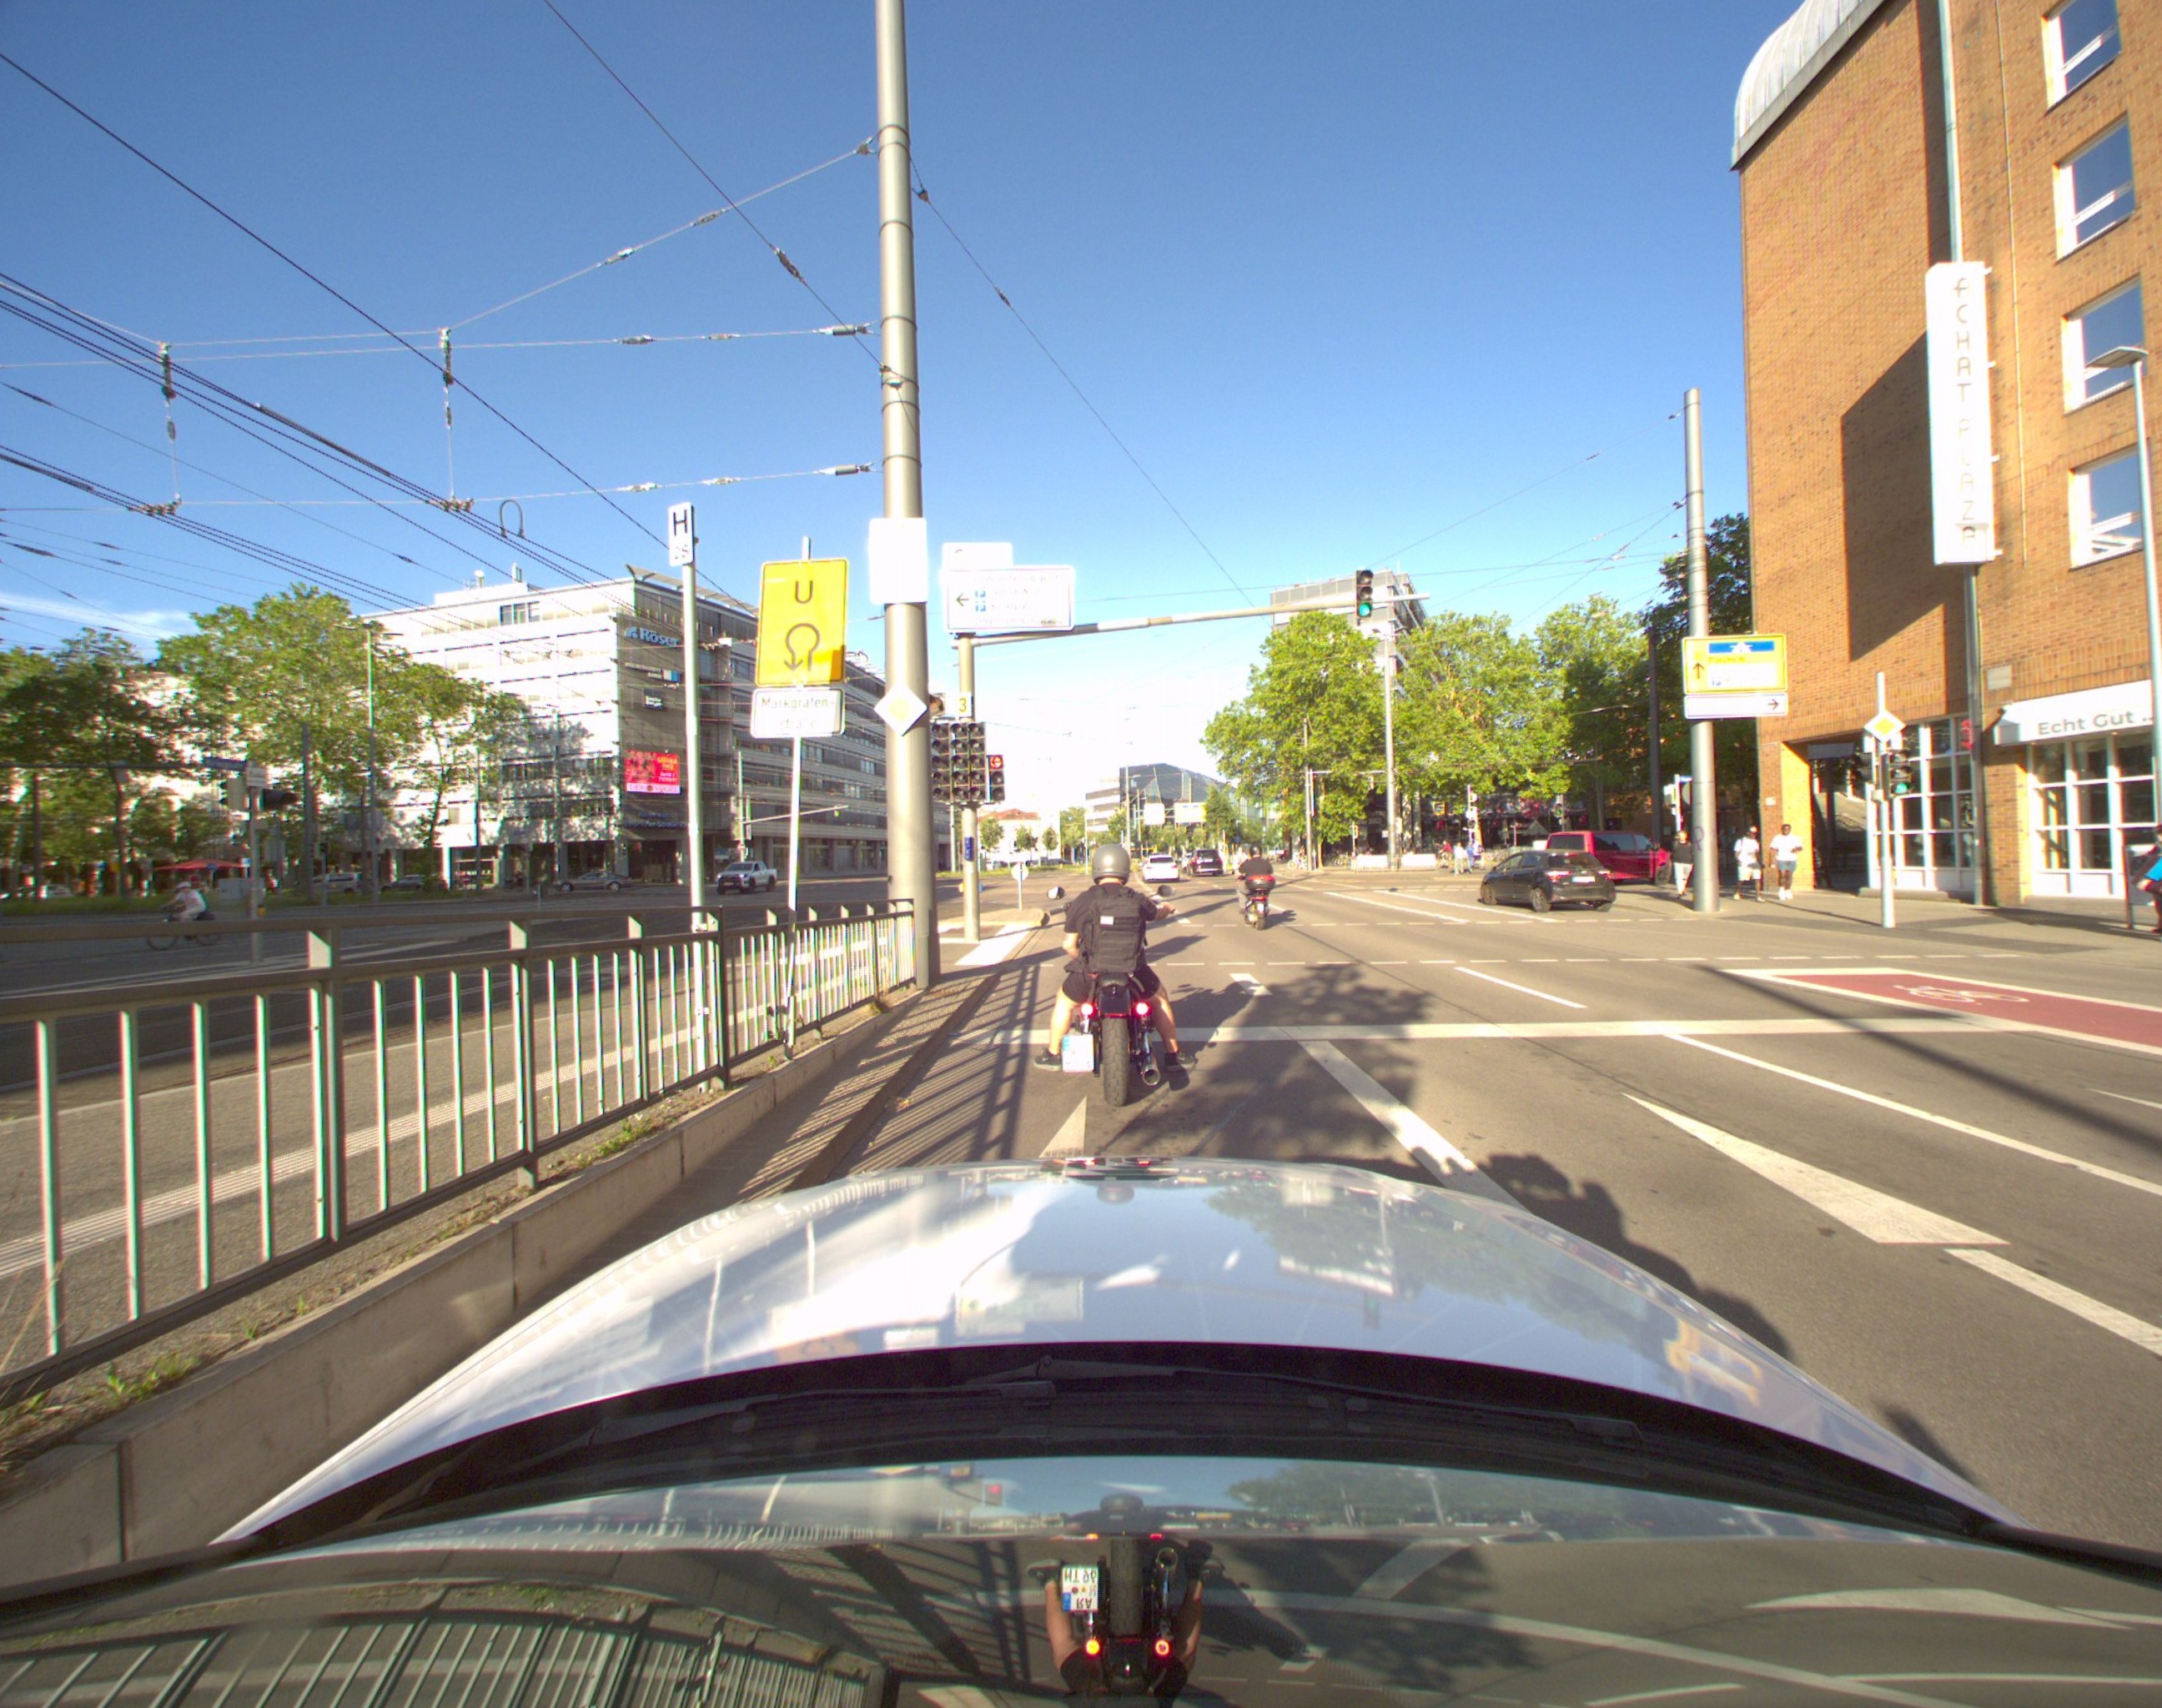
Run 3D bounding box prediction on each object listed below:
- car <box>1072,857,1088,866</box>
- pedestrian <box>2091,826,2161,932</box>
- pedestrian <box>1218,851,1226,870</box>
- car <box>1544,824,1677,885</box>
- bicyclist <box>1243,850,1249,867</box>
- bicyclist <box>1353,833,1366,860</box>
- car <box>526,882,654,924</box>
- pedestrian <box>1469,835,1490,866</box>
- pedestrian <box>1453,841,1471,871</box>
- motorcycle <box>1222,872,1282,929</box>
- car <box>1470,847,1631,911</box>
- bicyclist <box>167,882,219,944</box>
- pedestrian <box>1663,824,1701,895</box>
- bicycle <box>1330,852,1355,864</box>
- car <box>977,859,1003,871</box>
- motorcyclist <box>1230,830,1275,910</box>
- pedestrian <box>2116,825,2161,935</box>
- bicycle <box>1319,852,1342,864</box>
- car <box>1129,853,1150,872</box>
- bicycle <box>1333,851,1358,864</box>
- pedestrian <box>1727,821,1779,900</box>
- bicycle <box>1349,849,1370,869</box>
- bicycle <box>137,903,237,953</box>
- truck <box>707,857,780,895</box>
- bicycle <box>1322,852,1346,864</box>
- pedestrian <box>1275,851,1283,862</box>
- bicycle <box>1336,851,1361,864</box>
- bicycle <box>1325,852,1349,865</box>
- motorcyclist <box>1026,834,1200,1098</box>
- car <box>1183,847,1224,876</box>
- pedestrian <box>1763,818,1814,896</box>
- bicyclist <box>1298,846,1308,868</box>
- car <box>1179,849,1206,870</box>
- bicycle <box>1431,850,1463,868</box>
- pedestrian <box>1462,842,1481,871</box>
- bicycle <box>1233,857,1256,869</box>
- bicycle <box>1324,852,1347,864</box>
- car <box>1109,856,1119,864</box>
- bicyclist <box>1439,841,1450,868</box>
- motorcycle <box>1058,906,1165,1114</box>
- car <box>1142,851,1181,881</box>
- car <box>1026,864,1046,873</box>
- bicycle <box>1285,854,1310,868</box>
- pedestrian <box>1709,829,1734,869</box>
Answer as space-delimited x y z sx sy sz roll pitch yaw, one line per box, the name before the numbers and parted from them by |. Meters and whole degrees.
car | -0.105 1.309 142.887 1.736 1.524 4.016 -1 -1 16
pedestrian | 15.225 0.353 11.731 0.590 1.476 0.552 -2 -1 2
pedestrian | 11.867 0.537 68.491 0.587 1.557 0.488 0 -1 -6
car | 18.730 0.008 28.798 4.477 2.009 1.795 0 0 -23
bicyclist | 13.504 0.381 66.690 0.377 1.373 0.347 -1 -1 25
bicyclist | 19.065 -0.488 55.782 0.693 1.808 0.730 0 -1 6
car | -13.839 1.359 23.085 2.884 1.063 1.235 0 -1 -19
pedestrian | 22.180 -0.163 45.330 0.829 1.704 0.760 0 -1 2
pedestrian | 19.910 0.097 42.572 0.566 1.533 0.699 0 -1 -11
motorcycle | 3.473 0.912 16.728 0.801 1.050 2.376 0 -1 2
car | 11.707 0.566 20.646 1.726 1.450 4.039 -1 0 -1
bicyclist | -22.680 1.488 20.820 0.584 1.534 0.650 0 -1 2
pedestrian | 15.575 0.145 21.118 0.727 1.792 0.515 -1 -1 42
bicycle | 21.509 0.329 66.978 1.874 1.046 0.360 0 -1 1
car | -11.421 1.385 102.518 1.813 1.430 4.544 -2 0 11
motorcyclist | 3.468 0.326 16.520 0.793 1.580 0.529 0 -1 1
pedestrian | 14.856 0.345 11.089 0.590 1.452 0.601 -6 -1 2
bicycle | 21.555 0.355 70.304 1.874 1.046 0.360 0 0 1
car | 5.274 0.757 72.693 1.795 1.678 4.046 0 -1 5
bicycle | 21.486 0.305 66.164 1.874 1.046 0.360 0 -1 1
pedestrian | 15.748 0.143 19.097 0.591 1.779 0.681 -5 2 -2
bicycle | 19.060 0.365 55.756 0.722 1.367 2.922 0 -1 6
bicycle | -22.702 1.859 20.721 0.458 1.090 1.815 -3 -1 2
truck | -18.917 1.240 45.906 1.989 1.880 5.151 -4 -1 -2
bicycle | 21.473 0.350 69.153 1.874 1.046 0.360 0 0 1
pedestrian | 21.992 0.281 90.452 0.814 1.314 0.640 -1 -1 11
bicycle | 21.453 0.284 65.382 1.874 1.046 0.360 0 -1 1
bicycle | 21.457 0.356 68.167 1.874 1.046 0.360 0 -1 1
motorcyclist | 0.209 0.685 5.421 1.027 1.593 0.874 -2 0 1
car | 7.721 0.424 51.599 1.727 1.732 4.608 0 0 -2
pedestrian | 16.607 0.074 19.135 0.588 1.780 0.684 -3 -1 13
bicyclist | 17.730 0.243 64.934 0.682 1.673 0.544 -2 -2 21
car | 8.870 0.420 64.913 1.725 1.598 4.043 0 0 2
bicycle | 25.213 0.349 56.142 2.034 1.214 0.421 0 -1 2
pedestrian | 20.481 0.125 42.695 0.566 1.479 0.699 0 -1 -12
bicycle | 13.424 0.743 66.735 1.808 0.925 0.360 -1 -1 26
bicycle | 21.446 0.350 68.653 1.874 1.046 0.360 0 0 1
car | 8.317 1.468 204.107 1.982 2.014 4.309 0 -1 8
bicyclist | 25.045 0.041 56.157 0.582 1.837 0.403 0 -1 1
motorcycle | 0.209 0.958 5.752 0.598 1.036 2.235 0 0 2
car | 4.180 0.621 42.707 1.725 1.457 4.419 0 -1 2
car | -6.783 2.180 123.173 1.812 1.430 4.256 -1 -1 13
bicycle | 17.317 0.570 65.069 1.854 1.044 0.540 -1 -1 20
pedestrian | 27.314 -0.200 34.737 0.634 1.700 0.727 -1 -1 21
